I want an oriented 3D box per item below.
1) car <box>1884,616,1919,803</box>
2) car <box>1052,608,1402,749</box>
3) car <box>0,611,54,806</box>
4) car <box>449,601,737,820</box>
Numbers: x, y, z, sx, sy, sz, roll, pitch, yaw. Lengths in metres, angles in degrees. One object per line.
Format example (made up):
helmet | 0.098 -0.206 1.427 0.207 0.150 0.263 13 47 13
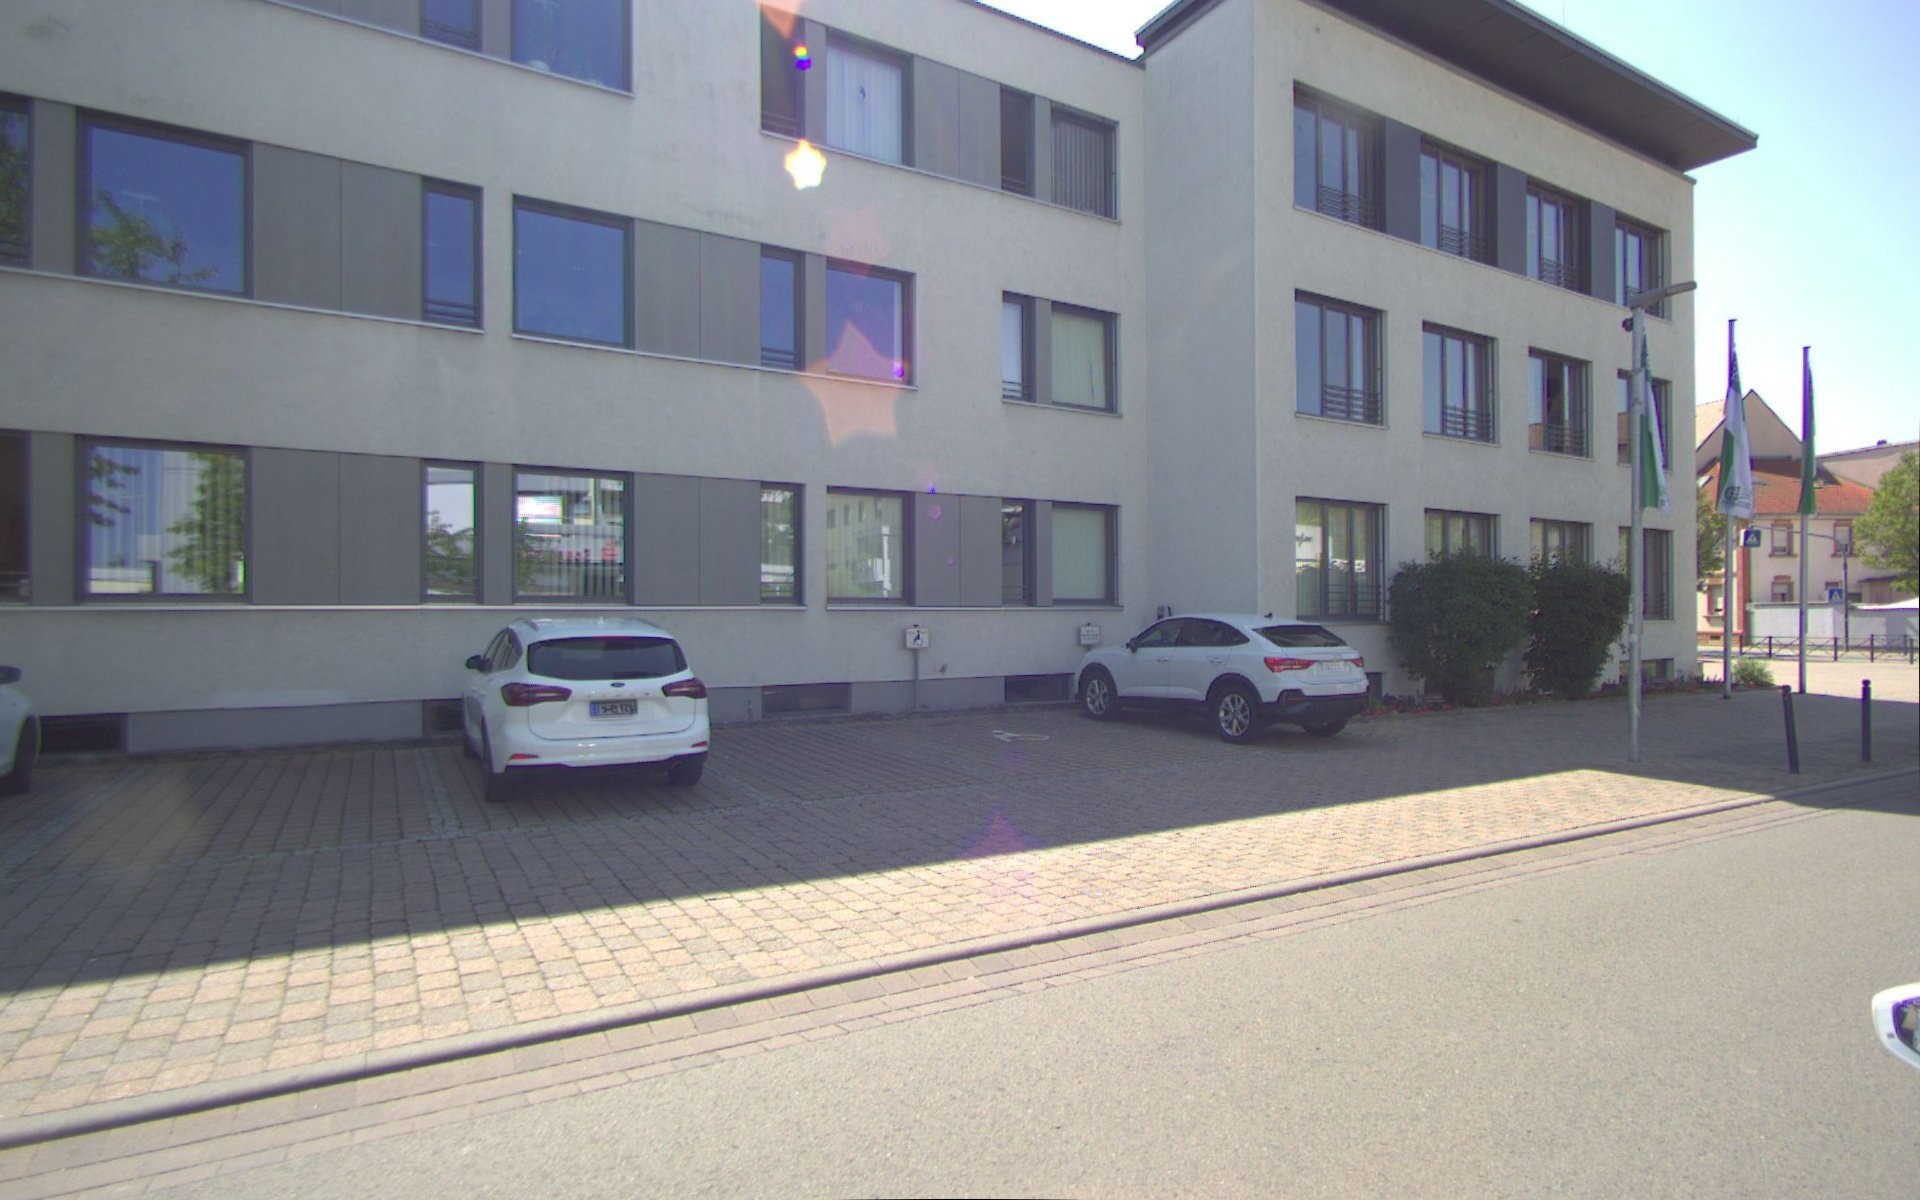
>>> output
car | 10.231 0.929 8.965 3.953 1.594 1.842 0 -1 -30
car | 3.453 0.921 13.884 2.123 1.575 4.484 1 0 -31
car | -7.866 0.835 6.828 1.787 1.470 3.966 0 0 -31
car | -3.764 0.828 9.721 1.912 1.575 4.483 -1 0 -30
